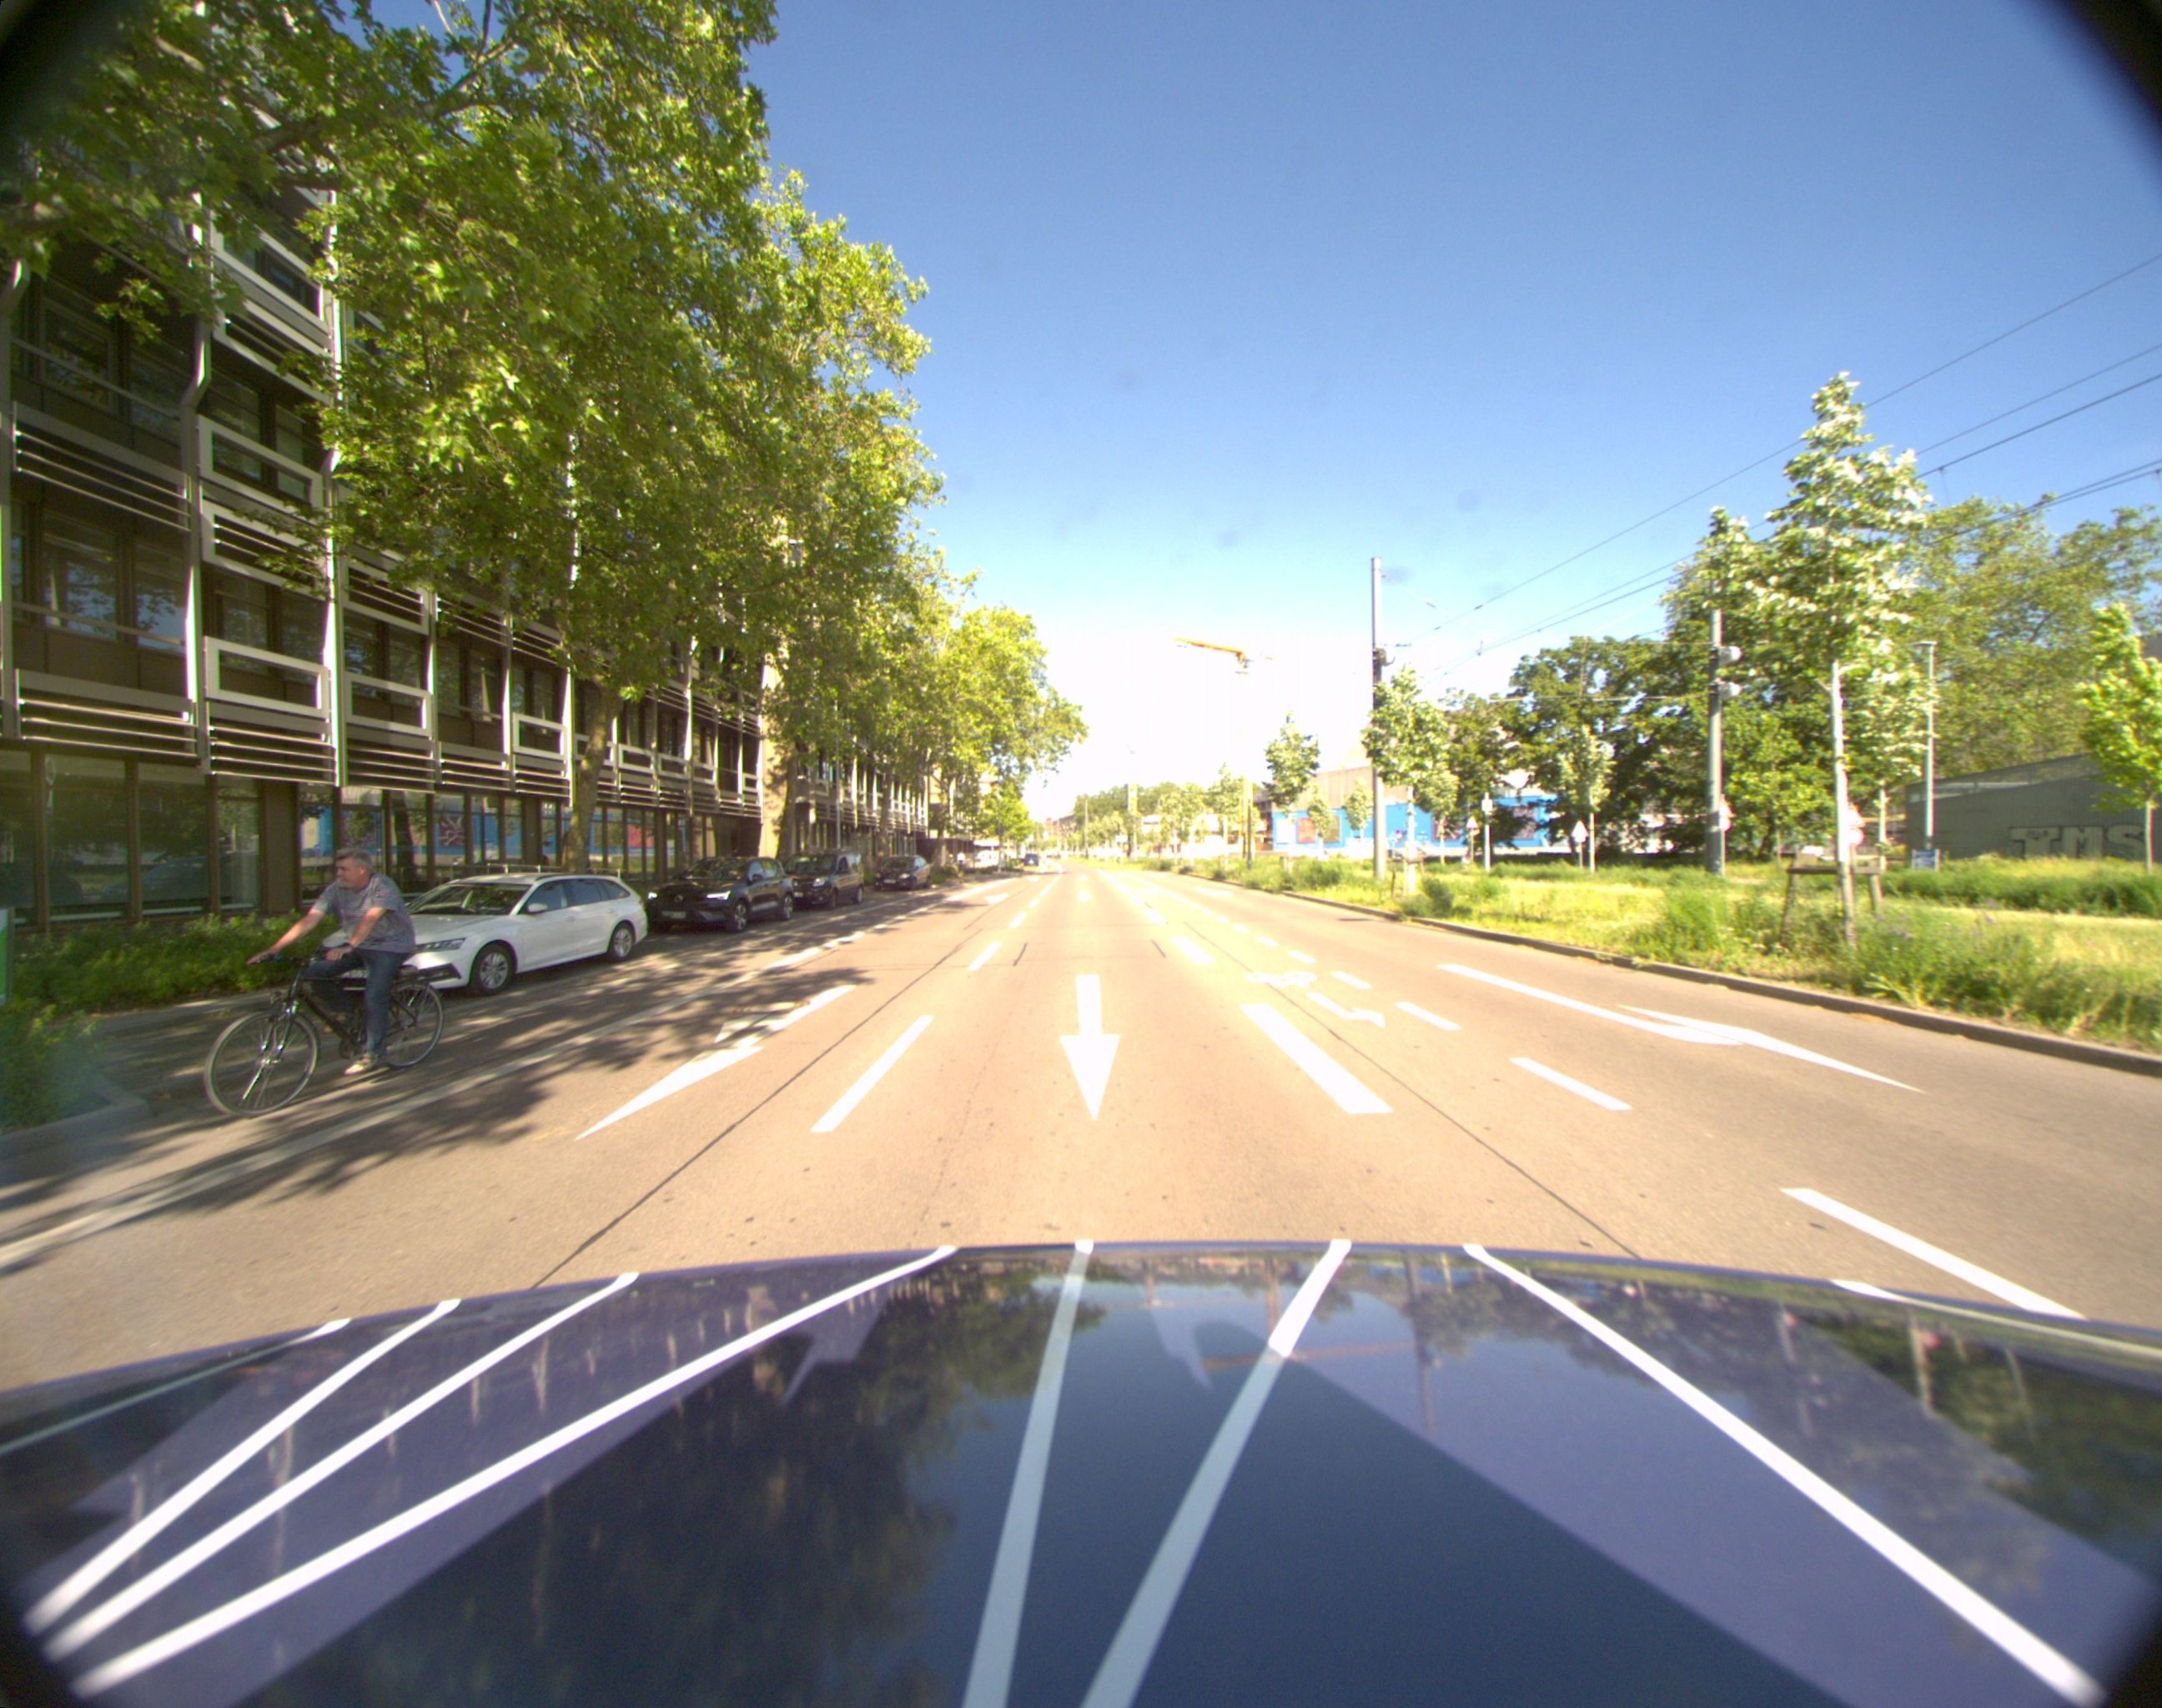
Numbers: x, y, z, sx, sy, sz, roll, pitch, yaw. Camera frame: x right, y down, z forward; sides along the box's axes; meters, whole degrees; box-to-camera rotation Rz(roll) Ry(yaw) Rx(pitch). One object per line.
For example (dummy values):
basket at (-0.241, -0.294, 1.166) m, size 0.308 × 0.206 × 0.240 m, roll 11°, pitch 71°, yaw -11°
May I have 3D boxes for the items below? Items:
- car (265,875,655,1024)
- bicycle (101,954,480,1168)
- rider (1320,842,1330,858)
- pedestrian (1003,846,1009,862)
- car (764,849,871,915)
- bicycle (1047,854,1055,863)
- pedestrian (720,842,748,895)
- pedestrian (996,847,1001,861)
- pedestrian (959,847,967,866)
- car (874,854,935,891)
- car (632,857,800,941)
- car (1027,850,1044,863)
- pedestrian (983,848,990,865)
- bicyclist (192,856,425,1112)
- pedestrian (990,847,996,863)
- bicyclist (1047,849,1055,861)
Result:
car at (-8.154, 1.122, 10.697) m, size 1.752 × 1.481 × 4.559 m, roll 1°, pitch 0°, yaw 0°
bicycle at (-5.525, 1.376, 5.546) m, size 0.711 × 0.987 × 1.923 m, roll -3°, pitch 1°, yaw -1°
rider at (22.946, -0.356, 71.521) m, size 0.724 × 1.513 × 0.631 m, roll -1°, pitch 1°, yaw -2°
pedestrian at (-8.591, -0.005, 86.718) m, size 0.591 × 1.830 × 0.569 m, roll -1°, pitch 1°, yaw 0°
car at (-7.880, 0.764, 23.141) m, size 1.752 × 1.811 × 4.336 m, roll 1°, pitch 0°, yaw 0°
bicycle at (-3.731, 0.576, 94.223) m, size 0.845 × 1.123 × 2.553 m, roll -1°, pitch 0°, yaw 1°
pedestrian at (-13.469, 0.552, 29.541) m, size 0.741 × 2.002 × 0.626 m, roll -1°, pitch 1°, yaw 1°
pedestrian at (-10.280, -0.010, 94.521) m, size 0.591 × 1.830 × 0.569 m, roll -1°, pitch 1°, yaw 0°
pedestrian at (-11.677, 0.252, 75.156) m, size 0.591 × 1.830 × 0.697 m, roll -1°, pitch 1°, yaw 0°
car at (-7.945, 0.807, 34.549) m, size 1.752 × 1.545 × 4.336 m, roll 1°, pitch 0°, yaw 0°
car at (-8.110, 0.921, 17.376) m, size 1.752 × 1.624 × 4.336 m, roll 1°, pitch 0°, yaw 0°
car at (-5.810, 0.331, 97.571) m, size 1.999 × 1.598 × 3.895 m, roll -1°, pitch 0°, yaw -1°
pedestrian at (-10.138, 0.243, 81.465) m, size 0.591 × 1.830 × 0.696 m, roll -1°, pitch 1°, yaw 0°
bicyclist at (-5.551, 0.874, 5.526) m, size 0.711 × 1.678 × 0.852 m, roll -3°, pitch 1°, yaw -1°
pedestrian at (-10.002, 0.125, 86.600) m, size 0.591 × 1.830 × 0.569 m, roll -1°, pitch 1°, yaw 0°
bicyclist at (-3.729, 0.137, 94.220) m, size 0.830 × 1.380 × 0.903 m, roll -1°, pitch 1°, yaw 1°
